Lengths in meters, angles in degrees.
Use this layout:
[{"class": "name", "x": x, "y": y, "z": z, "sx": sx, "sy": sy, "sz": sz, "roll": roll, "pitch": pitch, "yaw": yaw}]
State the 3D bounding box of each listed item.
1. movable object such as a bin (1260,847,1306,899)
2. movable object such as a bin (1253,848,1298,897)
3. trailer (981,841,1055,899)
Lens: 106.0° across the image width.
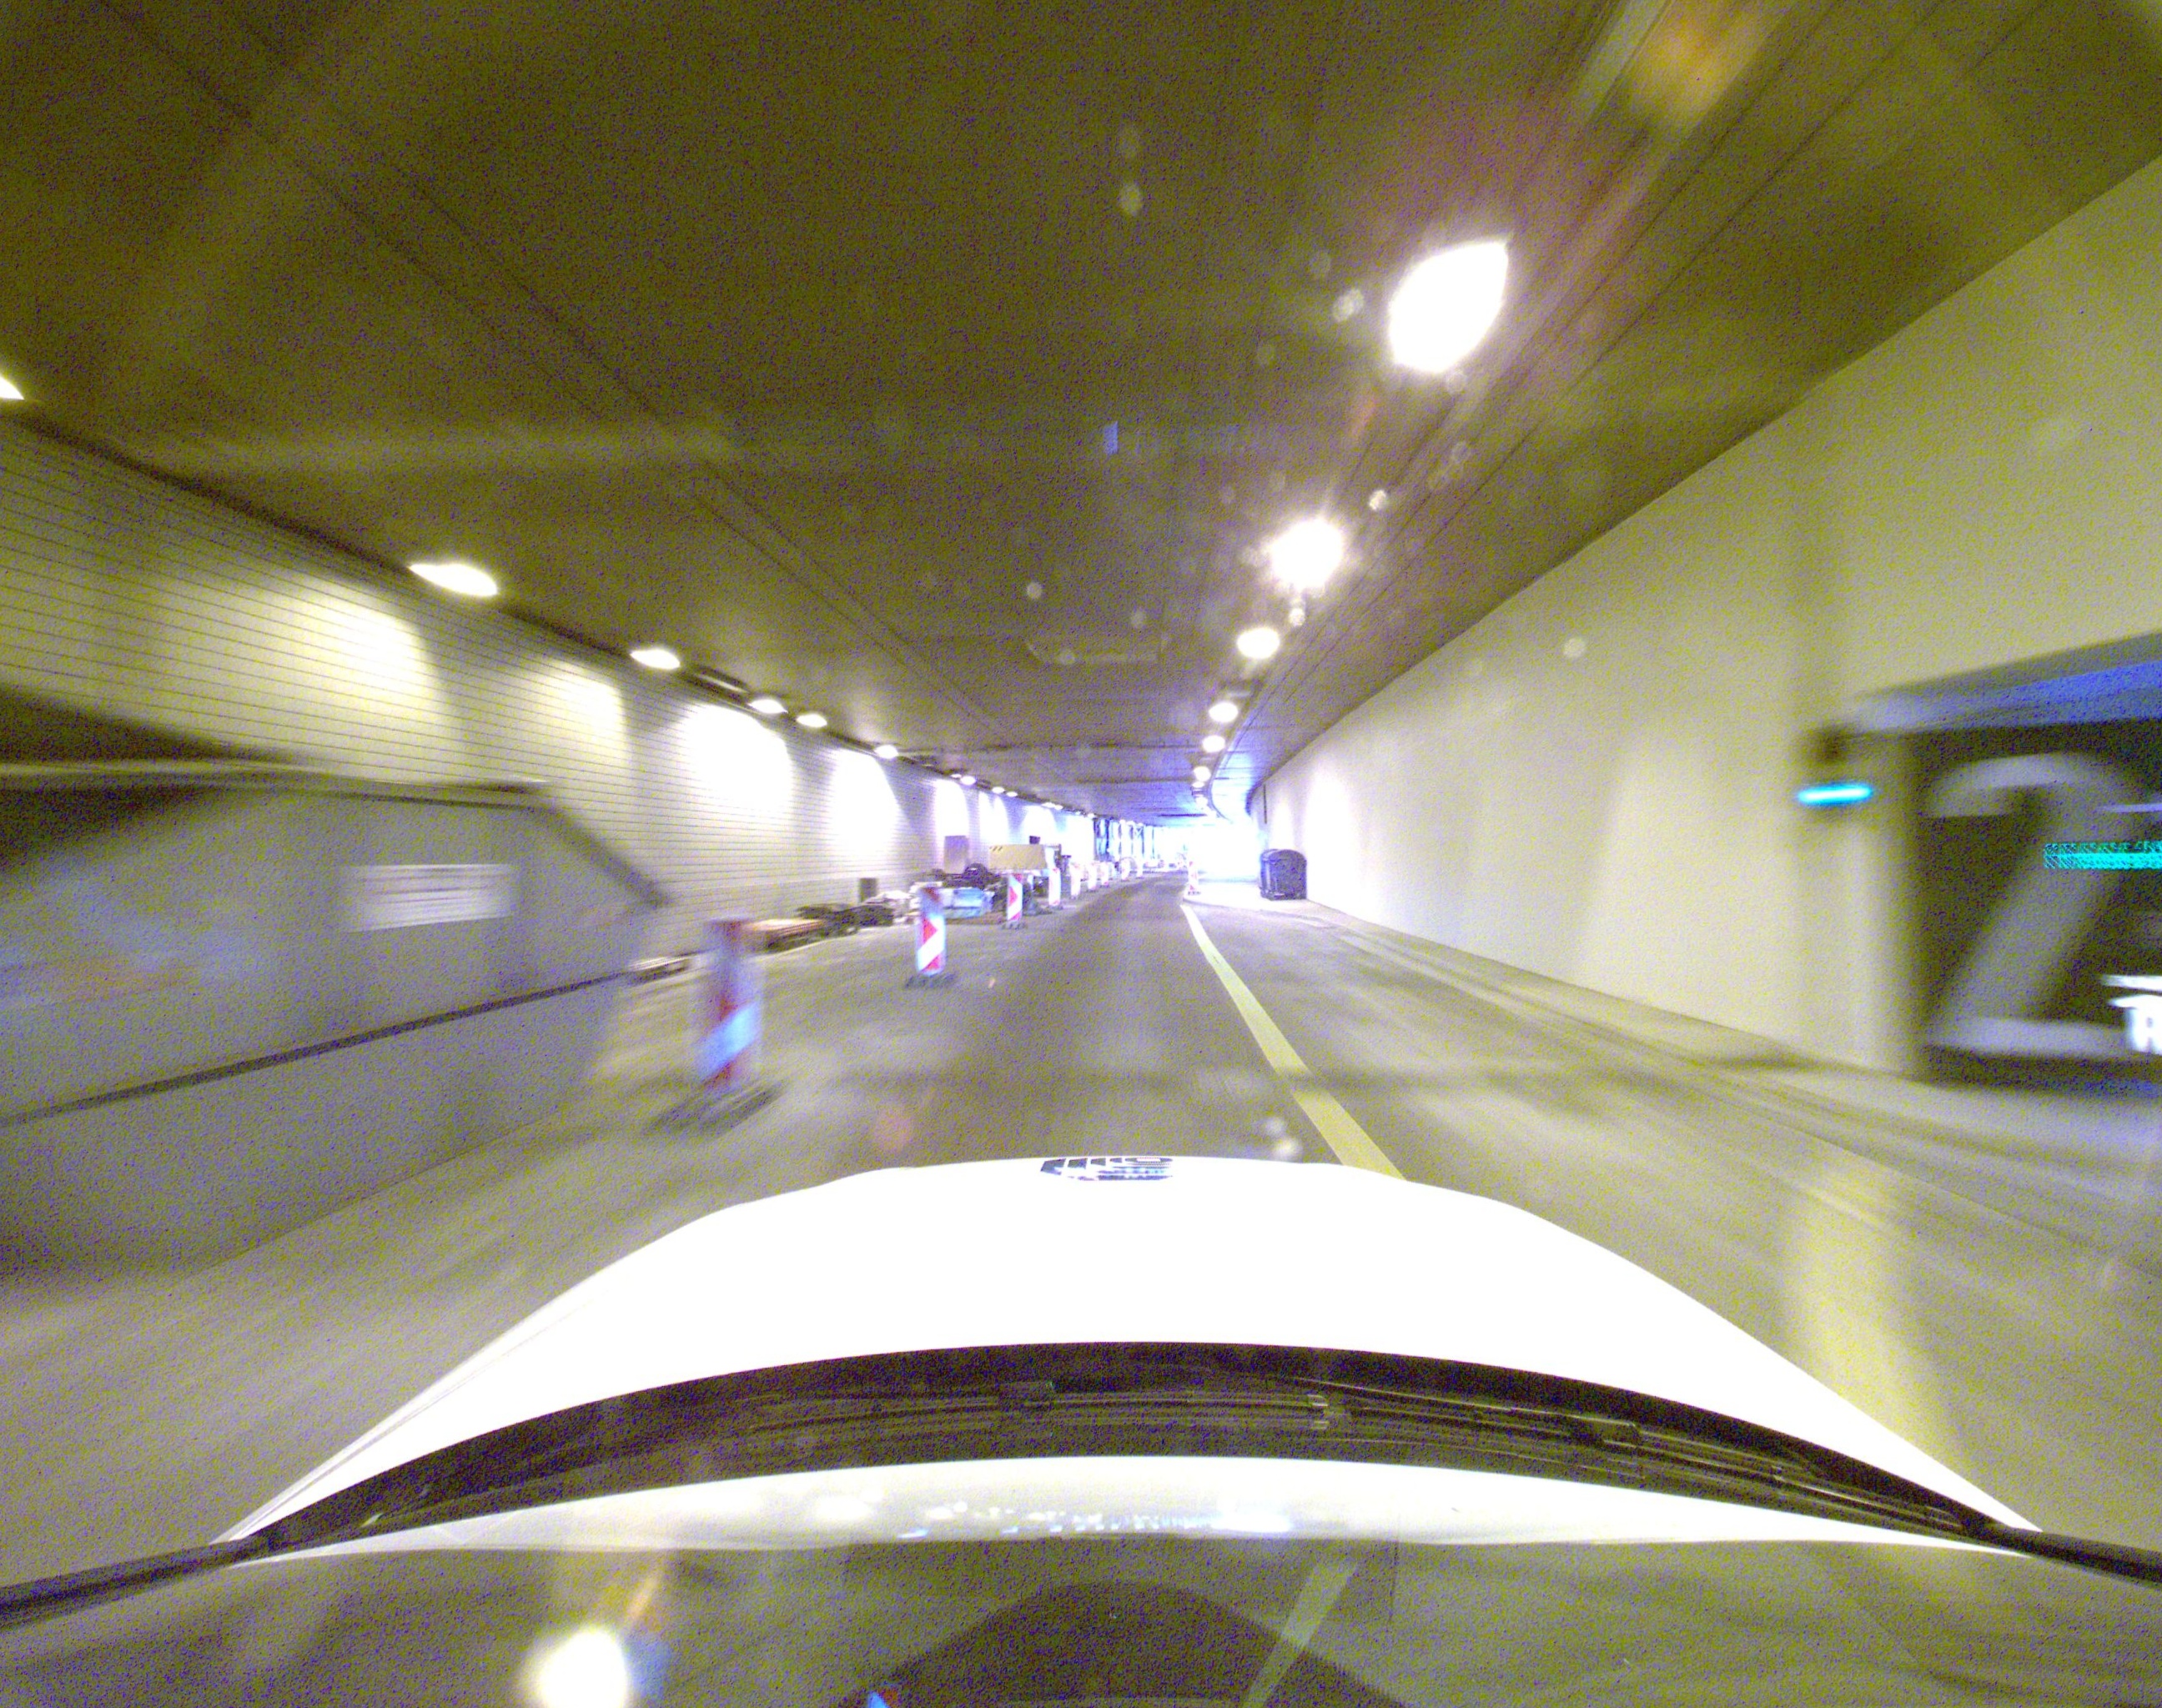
[{"class": "movable object such as a bin", "x": 5.845, "y": 0.545, "z": 23.624, "sx": 1.092, "sy": 1.445, "sz": 1.324, "roll": -1, "pitch": -1, "yaw": 6}, {"class": "movable object such as a bin", "x": 5.950, "y": 0.559, "z": 25.025, "sx": 1.140, "sy": 1.445, "sz": 1.366, "roll": -1, "pitch": -1, "yaw": 6}, {"class": "trailer", "x": -2.295, "y": 0.586, "z": 30.607, "sx": 2.198, "sy": 2.014, "sz": 3.470, "roll": -1, "pitch": -1, "yaw": 4}]
